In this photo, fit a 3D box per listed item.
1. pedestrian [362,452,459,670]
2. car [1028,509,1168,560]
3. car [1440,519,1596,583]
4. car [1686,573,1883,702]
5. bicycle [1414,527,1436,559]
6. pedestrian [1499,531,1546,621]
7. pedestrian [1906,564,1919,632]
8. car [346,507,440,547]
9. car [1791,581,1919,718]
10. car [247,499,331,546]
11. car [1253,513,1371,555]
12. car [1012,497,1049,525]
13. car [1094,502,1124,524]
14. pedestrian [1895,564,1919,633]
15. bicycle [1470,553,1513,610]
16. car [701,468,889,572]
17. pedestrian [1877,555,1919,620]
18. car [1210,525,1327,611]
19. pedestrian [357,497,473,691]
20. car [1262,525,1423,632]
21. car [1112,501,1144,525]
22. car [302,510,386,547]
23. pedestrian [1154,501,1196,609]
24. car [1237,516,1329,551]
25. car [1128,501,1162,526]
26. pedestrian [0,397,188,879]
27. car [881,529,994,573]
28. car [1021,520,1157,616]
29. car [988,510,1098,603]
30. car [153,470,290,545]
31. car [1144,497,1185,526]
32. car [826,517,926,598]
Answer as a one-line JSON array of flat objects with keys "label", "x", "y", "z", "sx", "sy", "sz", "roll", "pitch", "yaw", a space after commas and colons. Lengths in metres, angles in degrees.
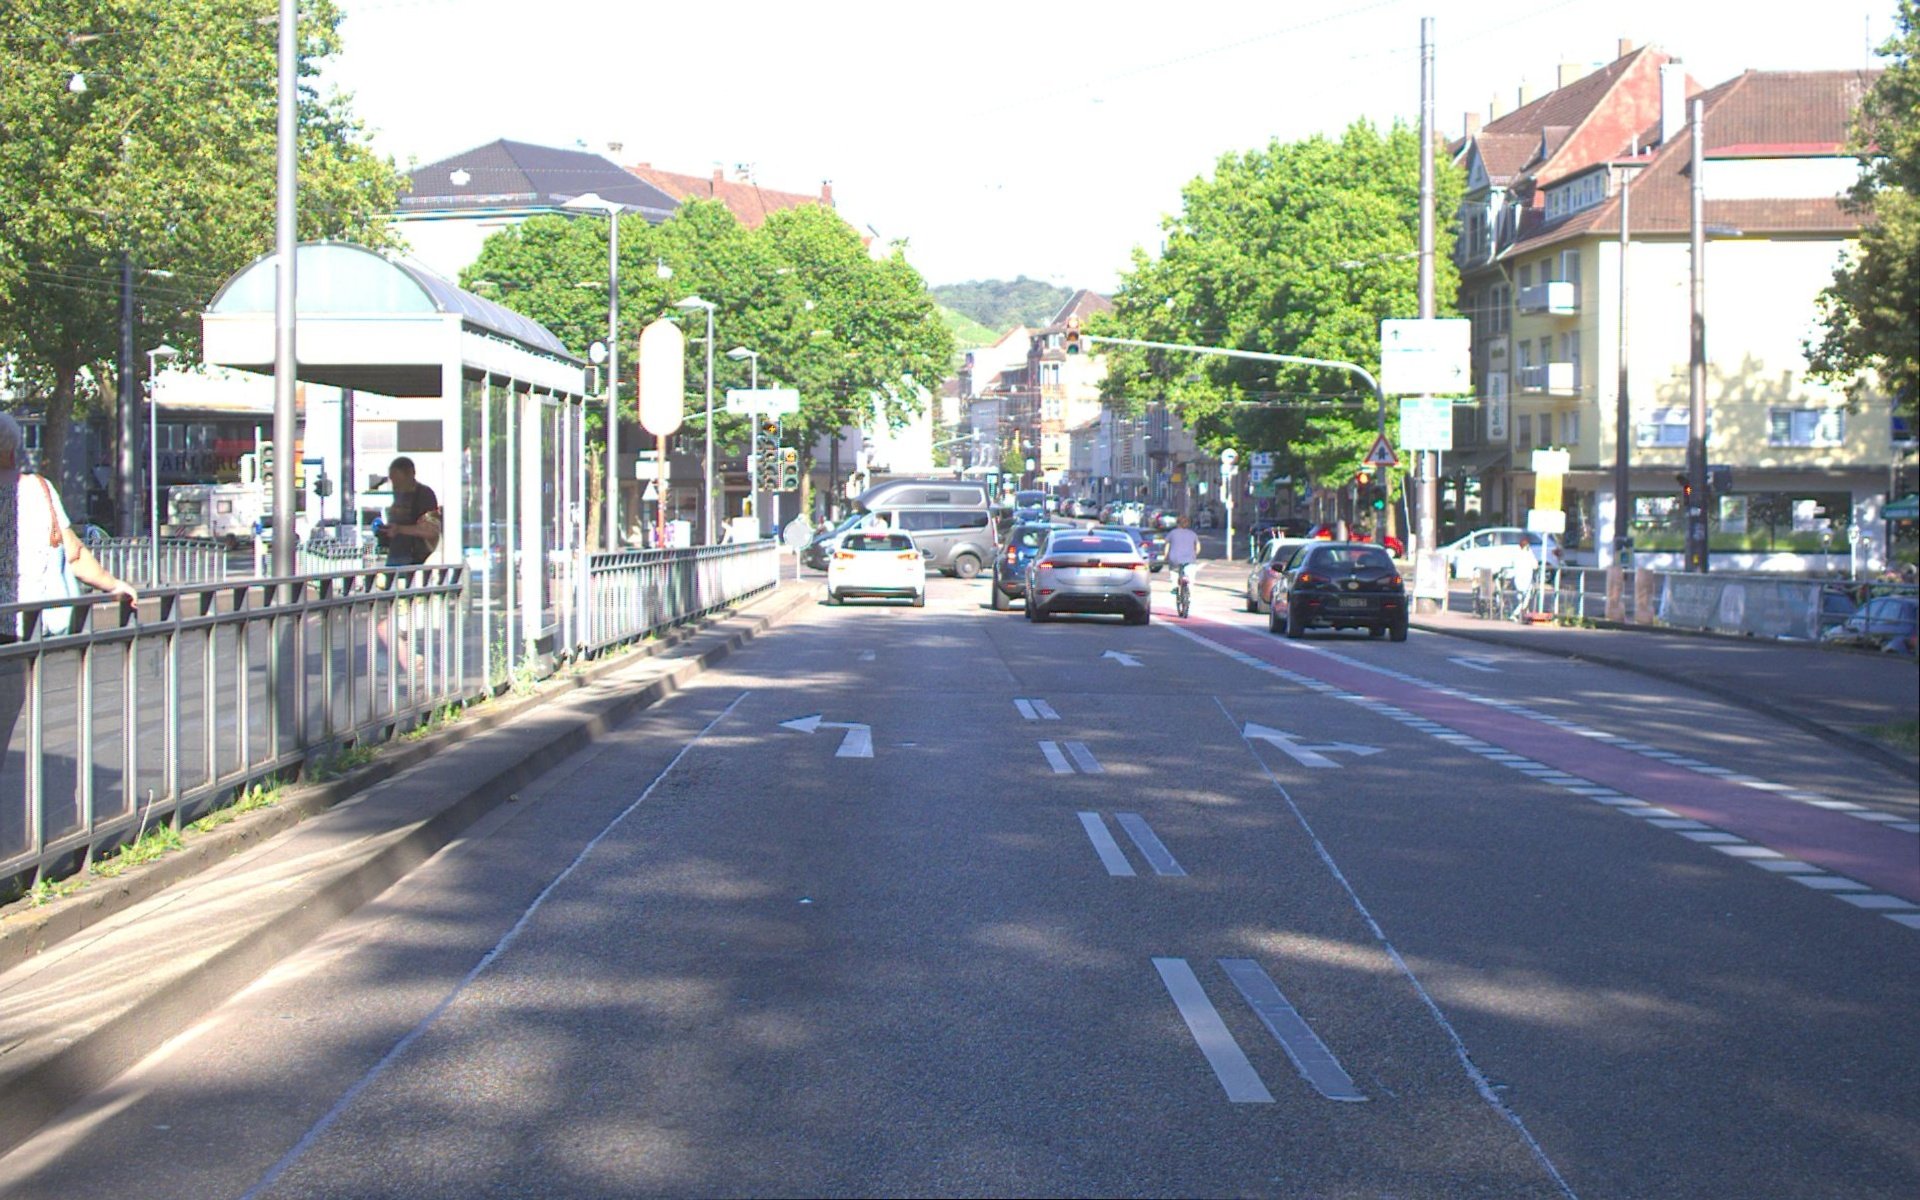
[{"label": "pedestrian", "x": -4.288, "y": -0.310, "z": 26.861, "sx": 0.595, "sy": 1.672, "sz": 0.589, "roll": 1, "pitch": 1, "yaw": 4}, {"label": "car", "x": 4.262, "y": -2.031, "z": 106.426, "sx": 3.996, "sy": 1.505, "sz": 1.796, "roll": 2, "pitch": 2, "yaw": 37}, {"label": "car", "x": 15.780, "y": -1.387, "z": 97.177, "sx": 4.150, "sy": 1.686, "sz": 1.820, "roll": 2, "pitch": 1, "yaw": 15}, {"label": "car", "x": 12.874, "y": 0.546, "z": 53.935, "sx": 1.794, "sy": 1.891, "sz": 4.360, "roll": 1, "pitch": 1, "yaw": -3}, {"label": "bicycle", "x": 16.390, "y": -2.011, "z": 121.145, "sx": 0.609, "sy": 1.104, "sz": 1.800, "roll": 1, "pitch": 1, "yaw": 4}, {"label": "pedestrian", "x": 10.007, "y": -0.426, "z": 61.107, "sx": 0.648, "sy": 1.557, "sz": 0.631, "roll": 4, "pitch": 1, "yaw": 18}, {"label": "pedestrian", "x": 19.452, "y": -0.029, "z": 69.011, "sx": 0.648, "sy": 1.333, "sz": 0.632, "roll": 3, "pitch": 1, "yaw": -1}, {"label": "car", "x": -23.641, "y": -3.040, "z": 143.476, "sx": 1.797, "sy": 1.643, "sz": 4.004, "roll": 1, "pitch": 2, "yaw": 28}, {"label": "car", "x": 13.291, "y": 0.664, "z": 48.083, "sx": 1.794, "sy": 1.796, "sz": 4.212, "roll": 1, "pitch": 1, "yaw": -8}, {"label": "car", "x": -28.552, "y": -3.309, "z": 146.361, "sx": 1.796, "sy": 1.949, "sz": 3.997, "roll": 1, "pitch": 1, "yaw": 18}, {"label": "car", "x": 13.004, "y": -2.453, "z": 127.093, "sx": 3.986, "sy": 1.505, "sz": 1.801, "roll": 0, "pitch": 1, "yaw": -9}, {"label": "car", "x": 3.866, "y": -4.880, "z": 187.855, "sx": 1.794, "sy": 1.505, "sz": 4.001, "roll": 0, "pitch": 1, "yaw": -2}, {"label": "car", "x": 10.459, "y": -6.088, "z": 241.449, "sx": 1.794, "sy": 1.517, "sz": 4.000, "roll": 0, "pitch": 1, "yaw": -1}, {"label": "pedestrian", "x": 18.955, "y": -0.032, "z": 68.061, "sx": 0.648, "sy": 1.333, "sz": 0.632, "roll": 3, "pitch": 1, "yaw": -1}, {"label": "bicycle", "x": 10.244, "y": -0.357, "z": 66.298, "sx": 0.498, "sy": 1.071, "sz": 1.800, "roll": 1, "pitch": 0, "yaw": -1}, {"label": "car", "x": -4.584, "y": -2.207, "z": 95.296, "sx": 5.013, "sy": 2.733, "sz": 2.074, "roll": 1, "pitch": 0, "yaw": -7}, {"label": "pedestrian", "x": 20.123, "y": -0.274, "z": 73.734, "sx": 0.648, "sy": 1.333, "sz": 0.632, "roll": 3, "pitch": 1, "yaw": -1}, {"label": "car", "x": 5.929, "y": -0.641, "z": 66.412, "sx": 1.794, "sy": 1.505, "sz": 4.001, "roll": 1, "pitch": 2, "yaw": -1}, {"label": "pedestrian", "x": -3.739, "y": -0.045, "z": 23.633, "sx": 0.678, "sy": 1.304, "sz": 0.593, "roll": 1, "pitch": 1, "yaw": 0}, {"label": "car", "x": 5.586, "y": -0.348, "z": 50.641, "sx": 1.800, "sy": 1.434, "sz": 4.045, "roll": 2, "pitch": 1, "yaw": -1}, {"label": "car", "x": 10.850, "y": -5.605, "z": 222.216, "sx": 1.794, "sy": 1.505, "sz": 4.000, "roll": 0, "pitch": 1, "yaw": -1}, {"label": "car", "x": -26.039, "y": -3.031, "z": 145.480, "sx": 1.796, "sy": 1.505, "sz": 4.007, "roll": 1, "pitch": 1, "yaw": 18}, {"label": "pedestrian", "x": 3.730, "y": -0.787, "z": 59.705, "sx": 0.657, "sy": 1.864, "sz": 0.678, "roll": 0, "pitch": 1, "yaw": -1}, {"label": "car", "x": 14.266, "y": -2.933, "z": 151.776, "sx": 3.989, "sy": 1.505, "sz": 1.799, "roll": -1, "pitch": 2, "yaw": -42}, {"label": "car", "x": 11.631, "y": -5.432, "z": 216.062, "sx": 1.794, "sy": 1.505, "sz": 4.000, "roll": 0, "pitch": 1, "yaw": -1}, {"label": "pedestrian", "x": -3.353, "y": 0.112, "z": 12.136, "sx": 0.801, "sy": 1.628, "sz": 0.865, "roll": 3, "pitch": 2, "yaw": 37}, {"label": "car", "x": -0.648, "y": -1.353, "z": 95.797, "sx": 2.902, "sy": 1.158, "sz": 2.074, "roll": 1, "pitch": 0, "yaw": -7}, {"label": "car", "x": 2.047, "y": -0.555, "z": 55.922, "sx": 1.929, "sy": 1.467, "sz": 4.855, "roll": 1, "pitch": 1, "yaw": -1}, {"label": "car", "x": 1.490, "y": -0.819, "z": 63.211, "sx": 1.800, "sy": 1.632, "sz": 4.046, "roll": 1, "pitch": 1, "yaw": -1}, {"label": "car", "x": -31.599, "y": -3.944, "z": 147.287, "sx": 2.499, "sy": 3.154, "sz": 6.528, "roll": 1, "pitch": 1, "yaw": 22}, {"label": "car", "x": 12.441, "y": -5.400, "z": 209.537, "sx": 2.104, "sy": 1.770, "sz": 4.342, "roll": 0, "pitch": 1, "yaw": -1}, {"label": "car", "x": -1.588, "y": -0.813, "z": 64.822, "sx": 1.808, "sy": 1.447, "sz": 4.000, "roll": 1, "pitch": 1, "yaw": -1}]
